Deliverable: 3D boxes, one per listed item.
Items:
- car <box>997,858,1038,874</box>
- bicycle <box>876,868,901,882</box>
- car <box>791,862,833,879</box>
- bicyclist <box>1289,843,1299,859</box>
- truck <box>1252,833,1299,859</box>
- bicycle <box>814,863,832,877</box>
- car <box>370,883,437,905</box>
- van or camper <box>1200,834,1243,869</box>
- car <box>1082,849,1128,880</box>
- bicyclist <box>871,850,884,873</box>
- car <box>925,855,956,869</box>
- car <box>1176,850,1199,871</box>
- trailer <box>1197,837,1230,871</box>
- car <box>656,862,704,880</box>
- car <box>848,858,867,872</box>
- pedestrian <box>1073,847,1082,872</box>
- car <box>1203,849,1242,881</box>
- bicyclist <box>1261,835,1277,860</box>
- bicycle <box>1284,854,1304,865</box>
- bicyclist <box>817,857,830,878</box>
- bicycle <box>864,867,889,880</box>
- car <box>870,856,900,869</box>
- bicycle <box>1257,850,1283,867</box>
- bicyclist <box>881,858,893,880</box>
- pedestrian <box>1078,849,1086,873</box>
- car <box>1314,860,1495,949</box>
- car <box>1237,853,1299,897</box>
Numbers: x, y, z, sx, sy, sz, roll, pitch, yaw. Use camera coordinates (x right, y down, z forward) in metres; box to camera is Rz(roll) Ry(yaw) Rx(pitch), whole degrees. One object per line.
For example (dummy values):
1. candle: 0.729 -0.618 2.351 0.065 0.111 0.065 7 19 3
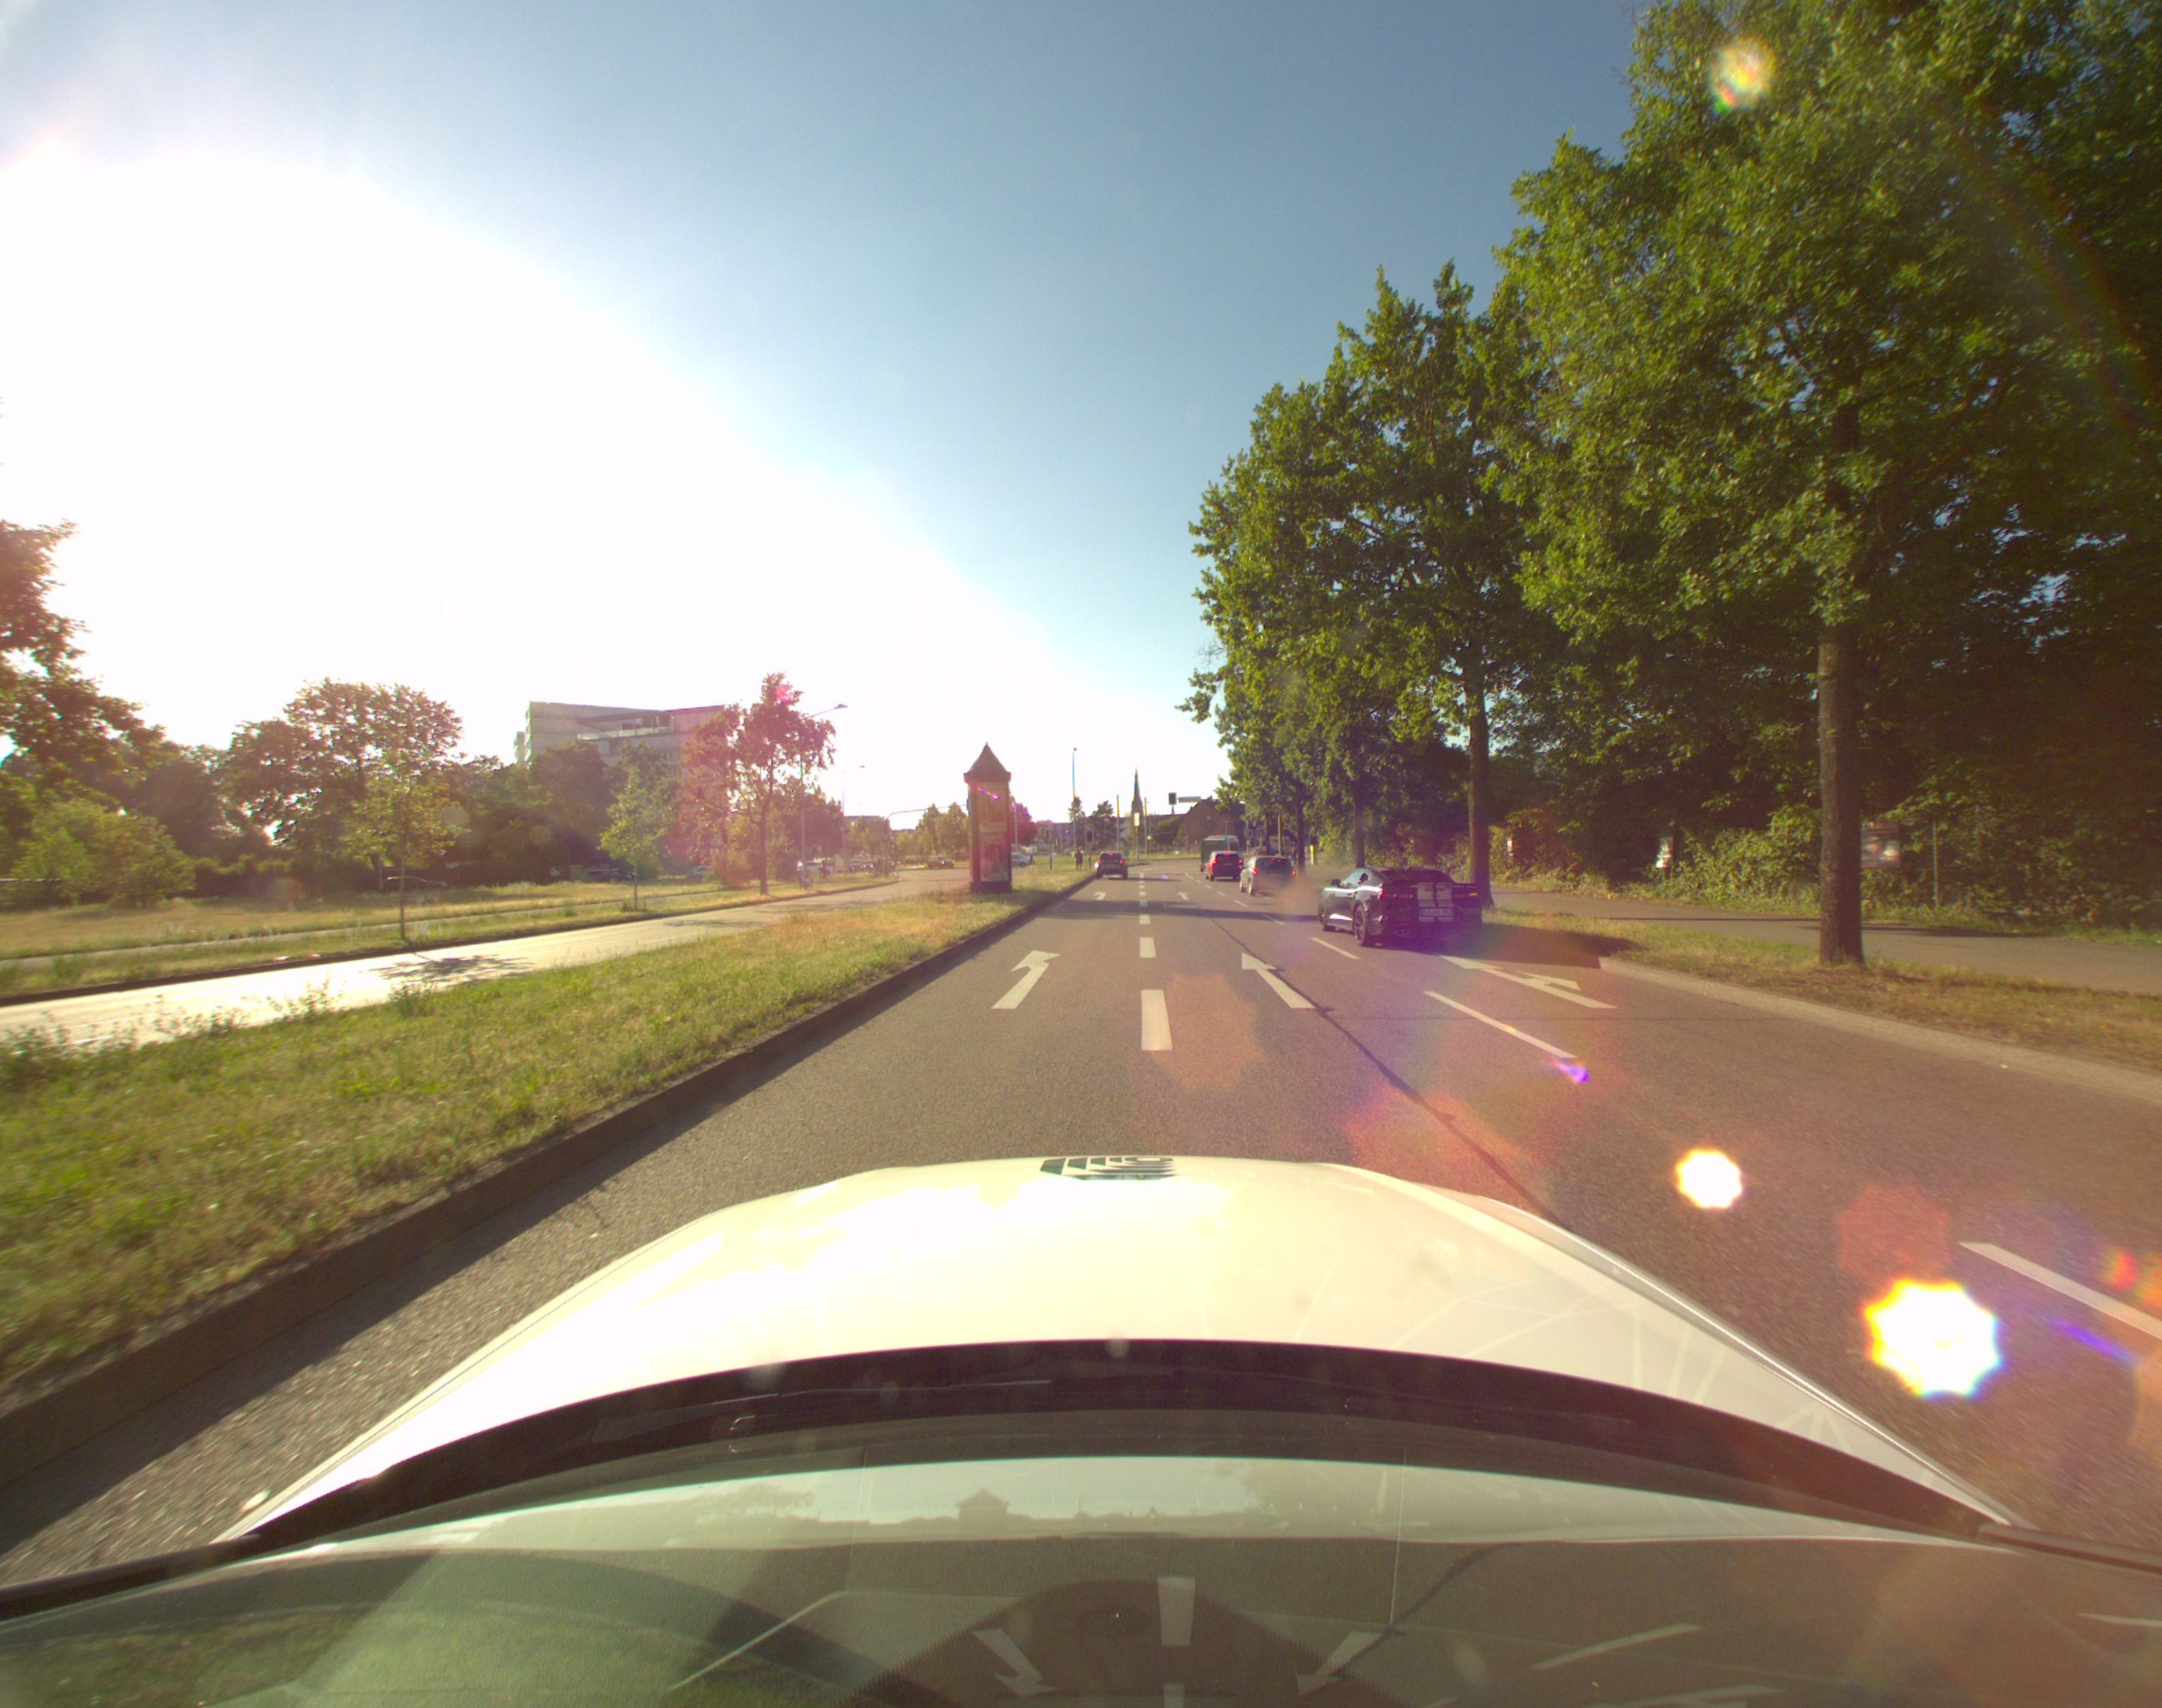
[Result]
1. car: -6.535 1.228 84.355 3.715 1.434 1.845 -2 0 20
2. bicycle: -15.504 1.689 65.466 1.896 1.019 0.506 -1 0 11
3. car: -27.823 1.679 84.286 3.981 1.508 1.834 -2 0 -24
4. bicyclist: 17.095 -0.238 65.372 0.649 1.294 0.464 -3 1 -14
5. truck: 20.798 -0.916 86.799 2.555 2.558 6.292 -2 0 36
6. bicycle: -20.769 1.308 65.584 0.730 1.118 1.801 -2 0 -42
7. car: -53.861 3.161 64.837 4.013 1.508 1.854 -2 0 -39
8. van or camper: 11.444 -0.233 65.786 2.265 2.629 6.616 -1 1 20
9. car: 1.392 0.612 48.656 1.905 1.660 3.986 -2 0 -10
10. bicyclist: -16.071 0.614 64.211 0.806 1.770 0.499 -1 0 19
11. car: -15.904 0.921 91.946 1.917 1.444 4.096 -2 0 -34
12. car: 8.550 0.519 65.855 1.594 1.610 4.005 -2 0 5
13. trailer: 9.787 0.000 59.976 2.075 2.400 3.515 0 0 14
14. car: -38.234 1.639 77.646 3.727 1.508 1.854 -2 0 -39
15. car: -25.510 1.225 93.019 1.667 1.441 3.604 -3 1 -9
16. pedestrian: -0.276 0.377 60.963 0.483 1.844 0.721 -2 0 8
17. car: 7.761 0.568 45.016 1.739 1.620 3.824 2 1 4
18. bicyclist: 14.810 -0.527 64.161 0.927 1.899 0.605 -4 -1 40
19. bicycle: 17.092 0.456 65.370 1.461 0.786 0.438 -3 0 -14
20. bicyclist: -20.699 1.083 65.501 0.714 1.666 0.821 -2 0 -42
21. bicycle: -16.126 1.558 64.229 1.892 1.019 0.507 -1 0 19
22. car: -24.256 1.076 100.563 4.097 1.376 1.683 -2 1 45
23. bicycle: 14.867 0.349 64.145 1.885 1.244 0.613 -4 -1 40
24. bicyclist: -15.589 1.203 65.508 0.807 1.789 0.498 -1 0 12
25. pedestrian: 0.082 0.520 61.950 0.483 1.844 0.673 -2 0 7
26. car: 5.642 0.819 14.866 1.845 1.338 4.632 -1 -1 6
27. car: 7.109 0.762 31.241 1.739 1.473 3.825 -2 0 5
